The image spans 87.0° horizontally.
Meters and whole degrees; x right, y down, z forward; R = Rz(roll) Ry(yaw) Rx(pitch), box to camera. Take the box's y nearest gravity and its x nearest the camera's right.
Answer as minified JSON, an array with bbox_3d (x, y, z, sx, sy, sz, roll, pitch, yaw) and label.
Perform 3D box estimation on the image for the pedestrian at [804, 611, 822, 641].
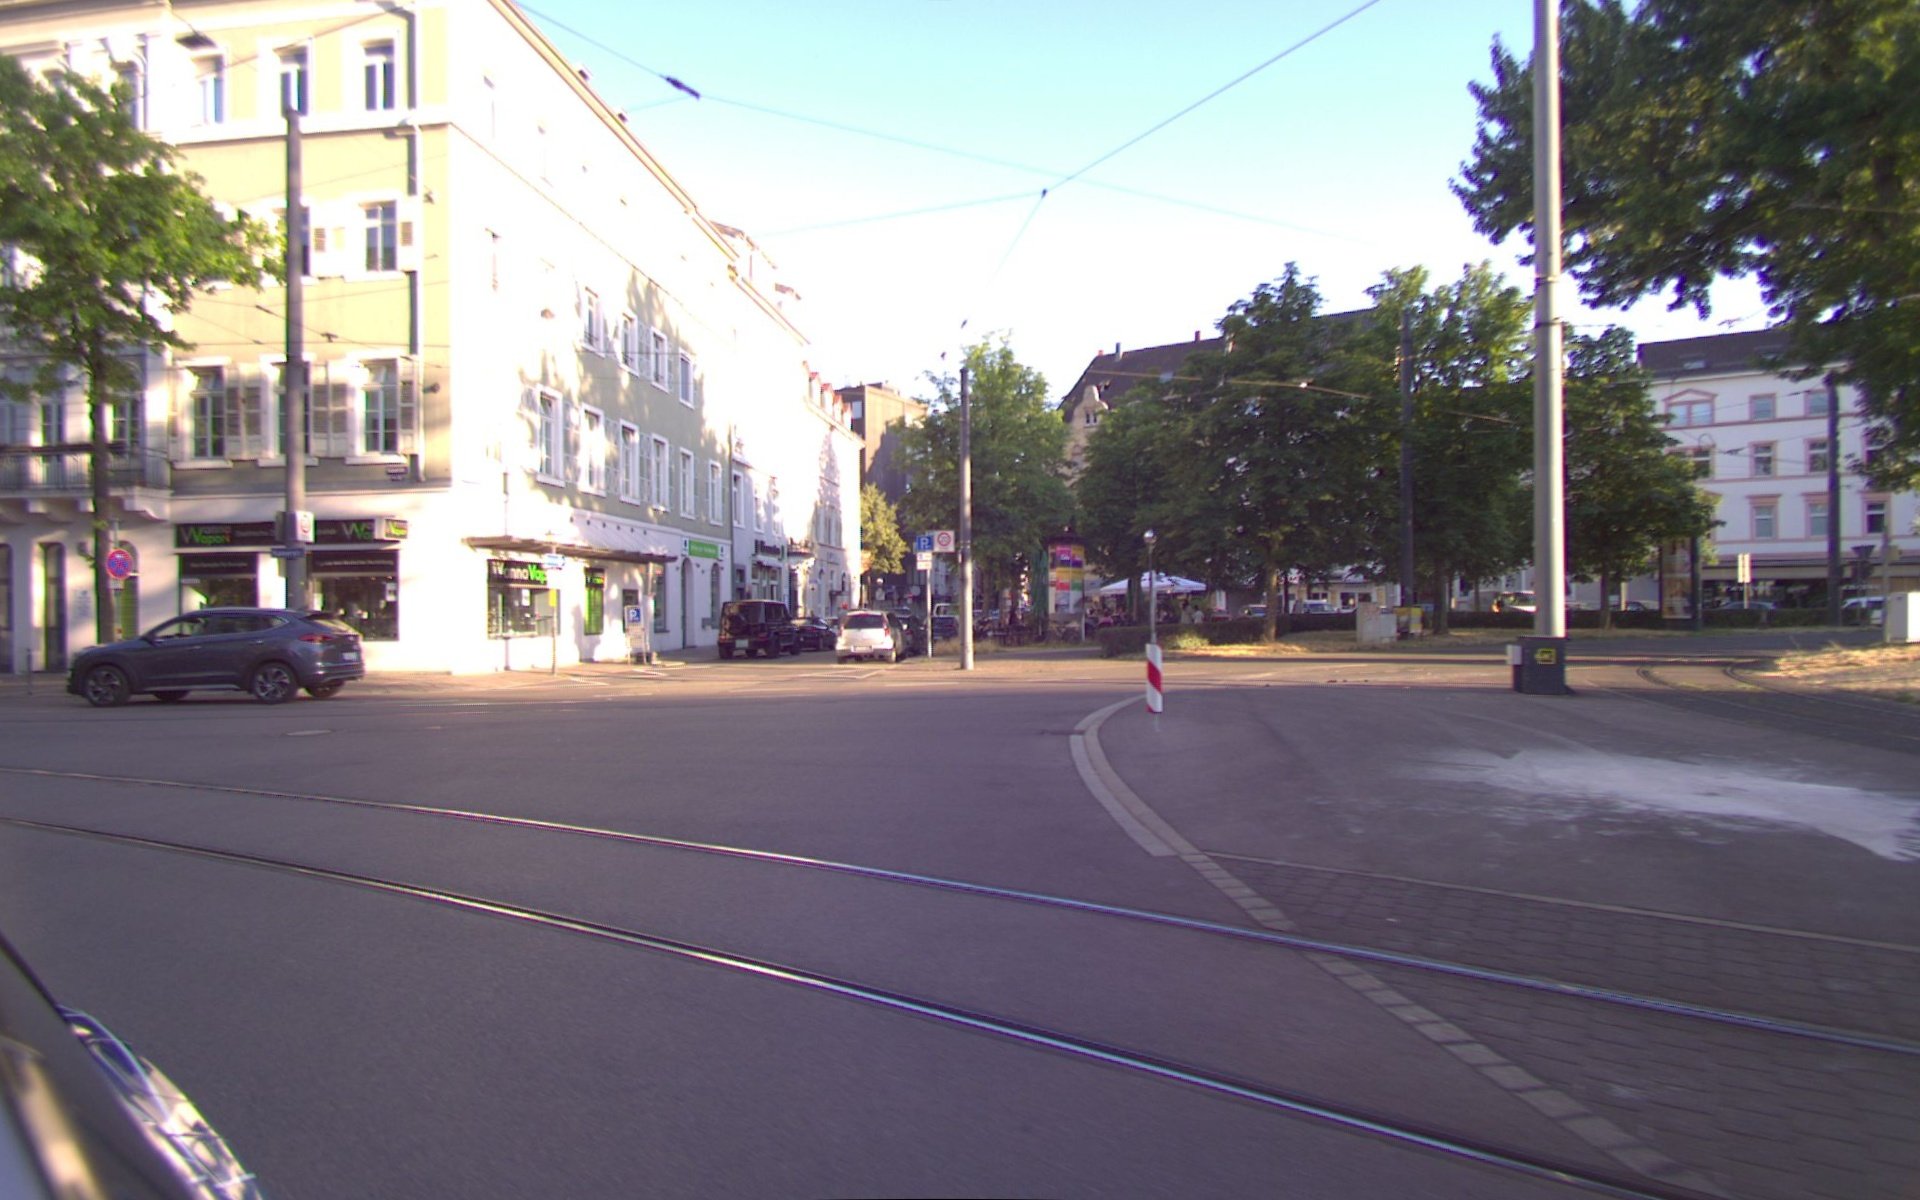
[{"bbox_3d":[-7.712,1.367,53.061,0.762,1.569,0.743,-1,-2,8],"label":"pedestrian"}]

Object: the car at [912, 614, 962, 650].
[{"bbox_3d":[-1.016,1.435,46.287,1.875,1.527,3.629,-1,-1,6],"label":"car"}]

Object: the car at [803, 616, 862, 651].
[{"bbox_3d":[-5.971,1.540,47.788,1.875,1.527,4.134,-1,-1,6],"label":"car"}]

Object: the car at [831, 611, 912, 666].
[{"bbox_3d":[-2.573,1.101,30.353,1.706,1.527,3.993,-1,-1,6],"label":"car"}]

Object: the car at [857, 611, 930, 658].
[{"bbox_3d":[-2.223,1.153,35.075,1.875,1.527,4.134,-1,-1,6],"label":"car"}]

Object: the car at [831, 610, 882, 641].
[{"bbox_3d":[-5.353,1.298,52.842,1.875,1.527,4.134,-1,-1,6],"label":"car"}]

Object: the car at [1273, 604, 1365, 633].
[{"bbox_3d":[15.193,0.791,42.981,3.215,1.126,1.722,-1,-1,-2],"label":"car"}]

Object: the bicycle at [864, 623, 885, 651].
[{"bbox_3d":[-3.641,1.570,43.333,0.558,1.160,2.021,-1,-1,5],"label":"bicycle"}]

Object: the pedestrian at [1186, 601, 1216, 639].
[{"bbox_3d":[9.035,0.754,37.936,0.759,1.421,0.746,0,-2,-41],"label":"pedestrian"}]

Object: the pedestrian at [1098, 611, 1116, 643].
[{"bbox_3d":[5.663,1.036,39.101,0.622,1.243,0.517,-1,-1,5],"label":"pedestrian"}]

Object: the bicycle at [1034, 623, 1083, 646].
[{"bbox_3d":[3.617,1.265,37.242,1.803,0.844,0.454,-2,-1,37],"label":"bicycle"}]

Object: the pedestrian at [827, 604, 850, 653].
[{"bbox_3d":[-4.994,1.171,41.622,0.736,1.950,0.770,-1,-2,6],"label":"pedestrian"}]

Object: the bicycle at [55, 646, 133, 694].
[{"bbox_3d":[-18.157,1.468,21.220,1.492,0.953,0.337,-1,-2,8],"label":"bicycle"}]

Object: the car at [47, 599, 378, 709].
[{"bbox_3d":[-13.026,0.941,17.933,4.289,1.689,1.973,-1,-3,-9],"label":"car"}]

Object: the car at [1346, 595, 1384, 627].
[{"bbox_3d":[24.192,0.641,60.509,1.986,1.796,3.972,-1,-1,21],"label":"car"}]

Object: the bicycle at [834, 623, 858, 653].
[{"bbox_3d":[-4.640,1.553,41.323,0.558,1.160,2.021,-1,-1,5],"label":"bicycle"}]

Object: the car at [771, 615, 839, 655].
[{"bbox_3d":[-6.403,1.417,42.223,1.875,1.527,4.134,-1,-1,6],"label":"car"}]

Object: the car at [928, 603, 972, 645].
[{"bbox_3d":[-0.481,1.237,52.301,1.875,2.045,3.989,-1,-1,6],"label":"car"}]

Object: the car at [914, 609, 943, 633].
[{"bbox_3d":[-2.307,1.513,75.040,1.708,1.705,3.844,-1,-1,4],"label":"car"}]

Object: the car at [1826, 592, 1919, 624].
[{"bbox_3d":[51.207,0.435,56.856,3.663,1.717,1.758,-2,-1,34],"label":"car"}]

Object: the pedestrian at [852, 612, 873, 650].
[{"bbox_3d":[-4.190,1.330,43.693,0.736,1.592,0.770,-1,-2,6],"label":"pedestrian"}]

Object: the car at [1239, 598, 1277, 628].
[{"bbox_3d":[18.638,0.822,63.173,1.986,1.796,3.972,-1,-1,21],"label":"car"}]

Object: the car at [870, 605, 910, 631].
[{"bbox_3d":[-4.340,1.094,63.316,1.875,1.527,4.134,-1,-1,6],"label":"car"}]

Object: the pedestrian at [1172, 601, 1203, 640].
[{"bbox_3d":[8.266,0.744,36.751,0.759,1.421,0.746,0,-2,-41],"label":"pedestrian"}]

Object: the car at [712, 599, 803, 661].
[{"bbox_3d":[-7.047,1.015,35.634,1.902,2.029,4.627,-1,-1,5],"label":"car"}]
